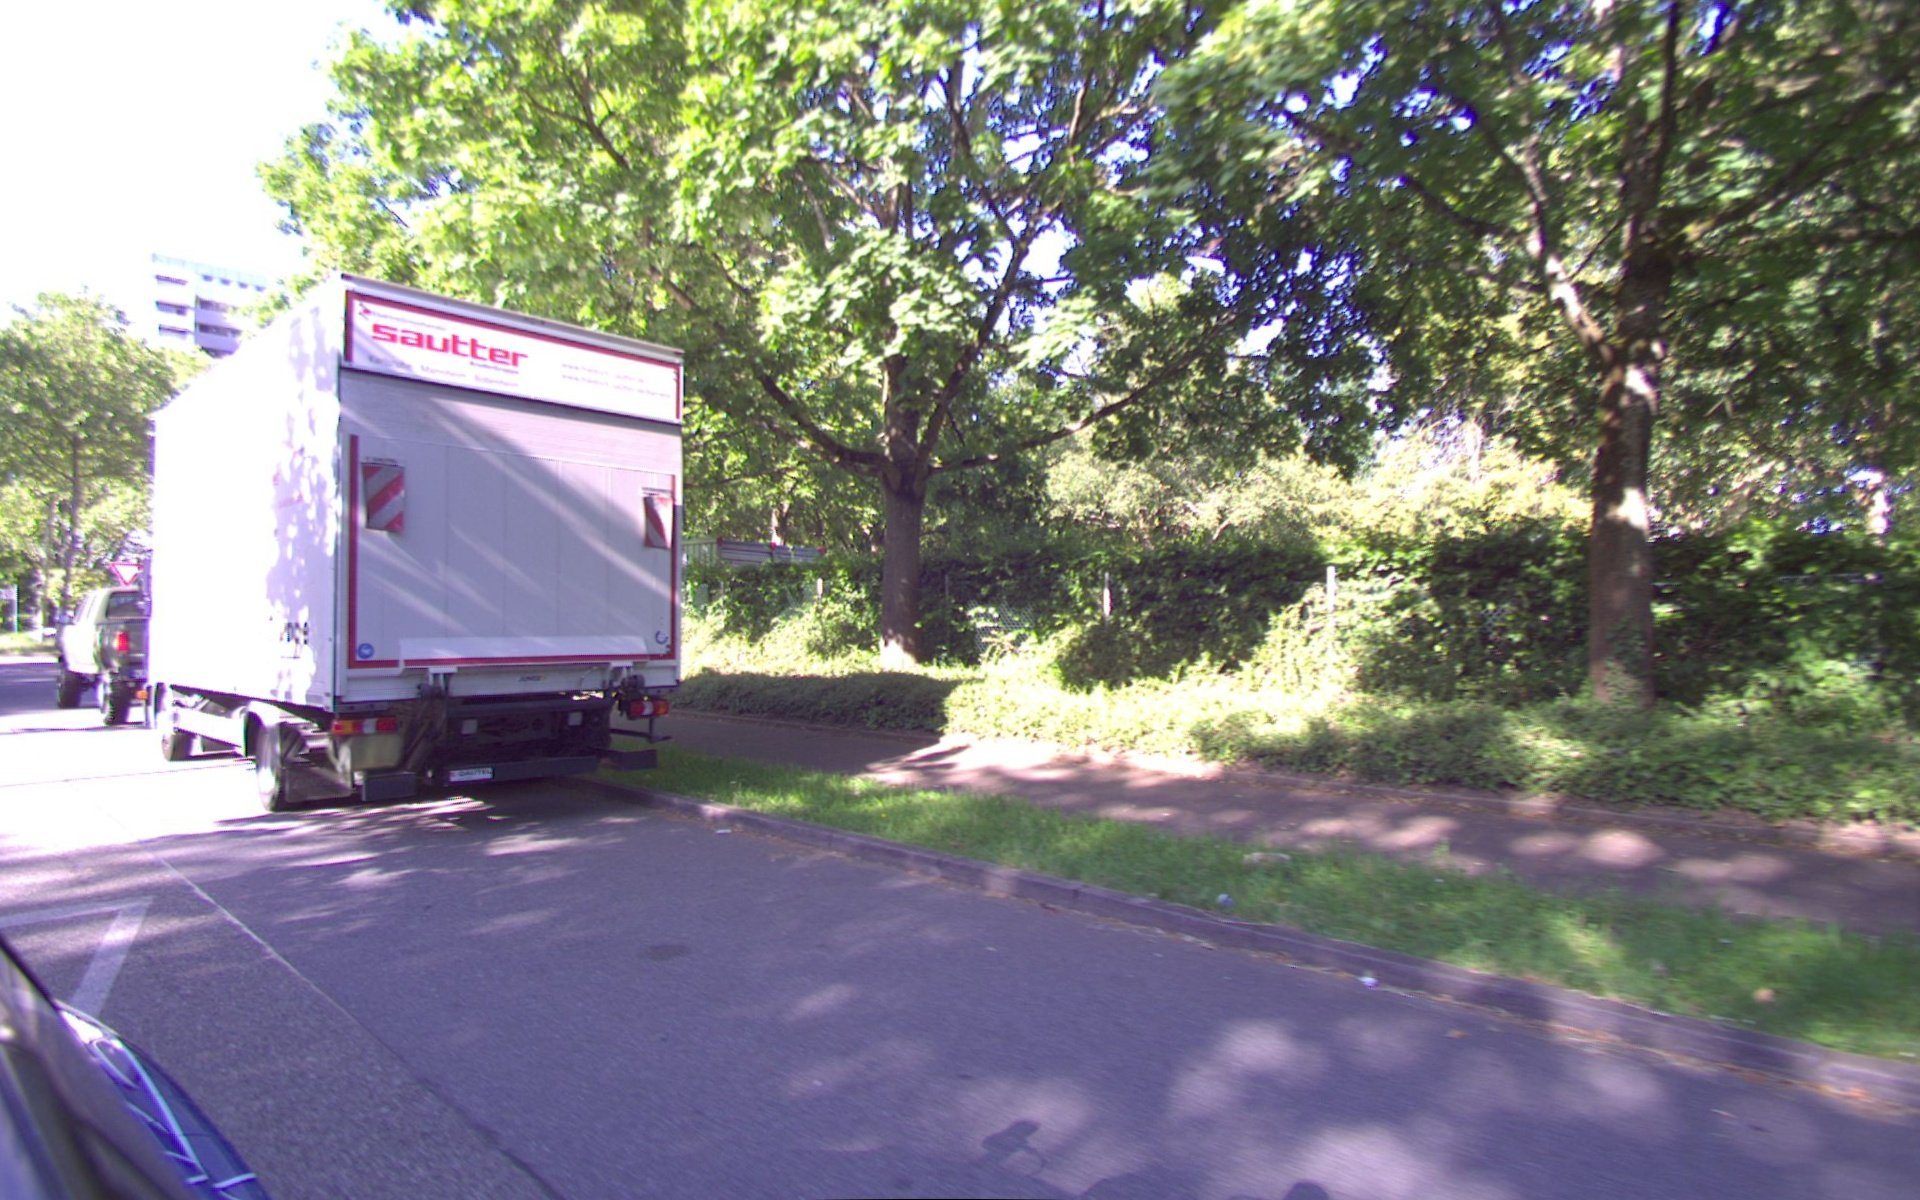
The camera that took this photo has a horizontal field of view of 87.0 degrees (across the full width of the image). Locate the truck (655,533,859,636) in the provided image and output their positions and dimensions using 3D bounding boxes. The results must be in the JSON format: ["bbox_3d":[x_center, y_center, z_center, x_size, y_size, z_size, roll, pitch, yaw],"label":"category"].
[{"bbox_3d":[-4.434,-0.246,22.513,2.203,2.029,3.946,-1,-3,40],"label":"truck"}]

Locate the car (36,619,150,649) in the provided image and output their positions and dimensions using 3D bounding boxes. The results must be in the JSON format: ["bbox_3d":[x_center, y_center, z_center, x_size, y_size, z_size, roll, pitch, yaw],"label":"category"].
[{"bbox_3d":[-45.344,1.744,52.994,4.420,1.402,1.620,-1,0,-44],"label":"car"}]

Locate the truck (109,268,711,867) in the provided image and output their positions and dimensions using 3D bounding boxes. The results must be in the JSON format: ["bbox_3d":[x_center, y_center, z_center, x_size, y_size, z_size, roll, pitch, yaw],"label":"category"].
[{"bbox_3d":[-5.912,-0.131,9.946,8.099,3.669,2.705,-1,-1,42],"label":"truck"}]

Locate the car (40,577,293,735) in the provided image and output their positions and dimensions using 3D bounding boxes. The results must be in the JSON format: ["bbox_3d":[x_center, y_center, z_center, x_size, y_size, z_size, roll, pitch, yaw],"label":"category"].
[{"bbox_3d":[-13.144,0.813,16.547,6.581,2.112,2.097,-1,-1,41],"label":"car"}]
